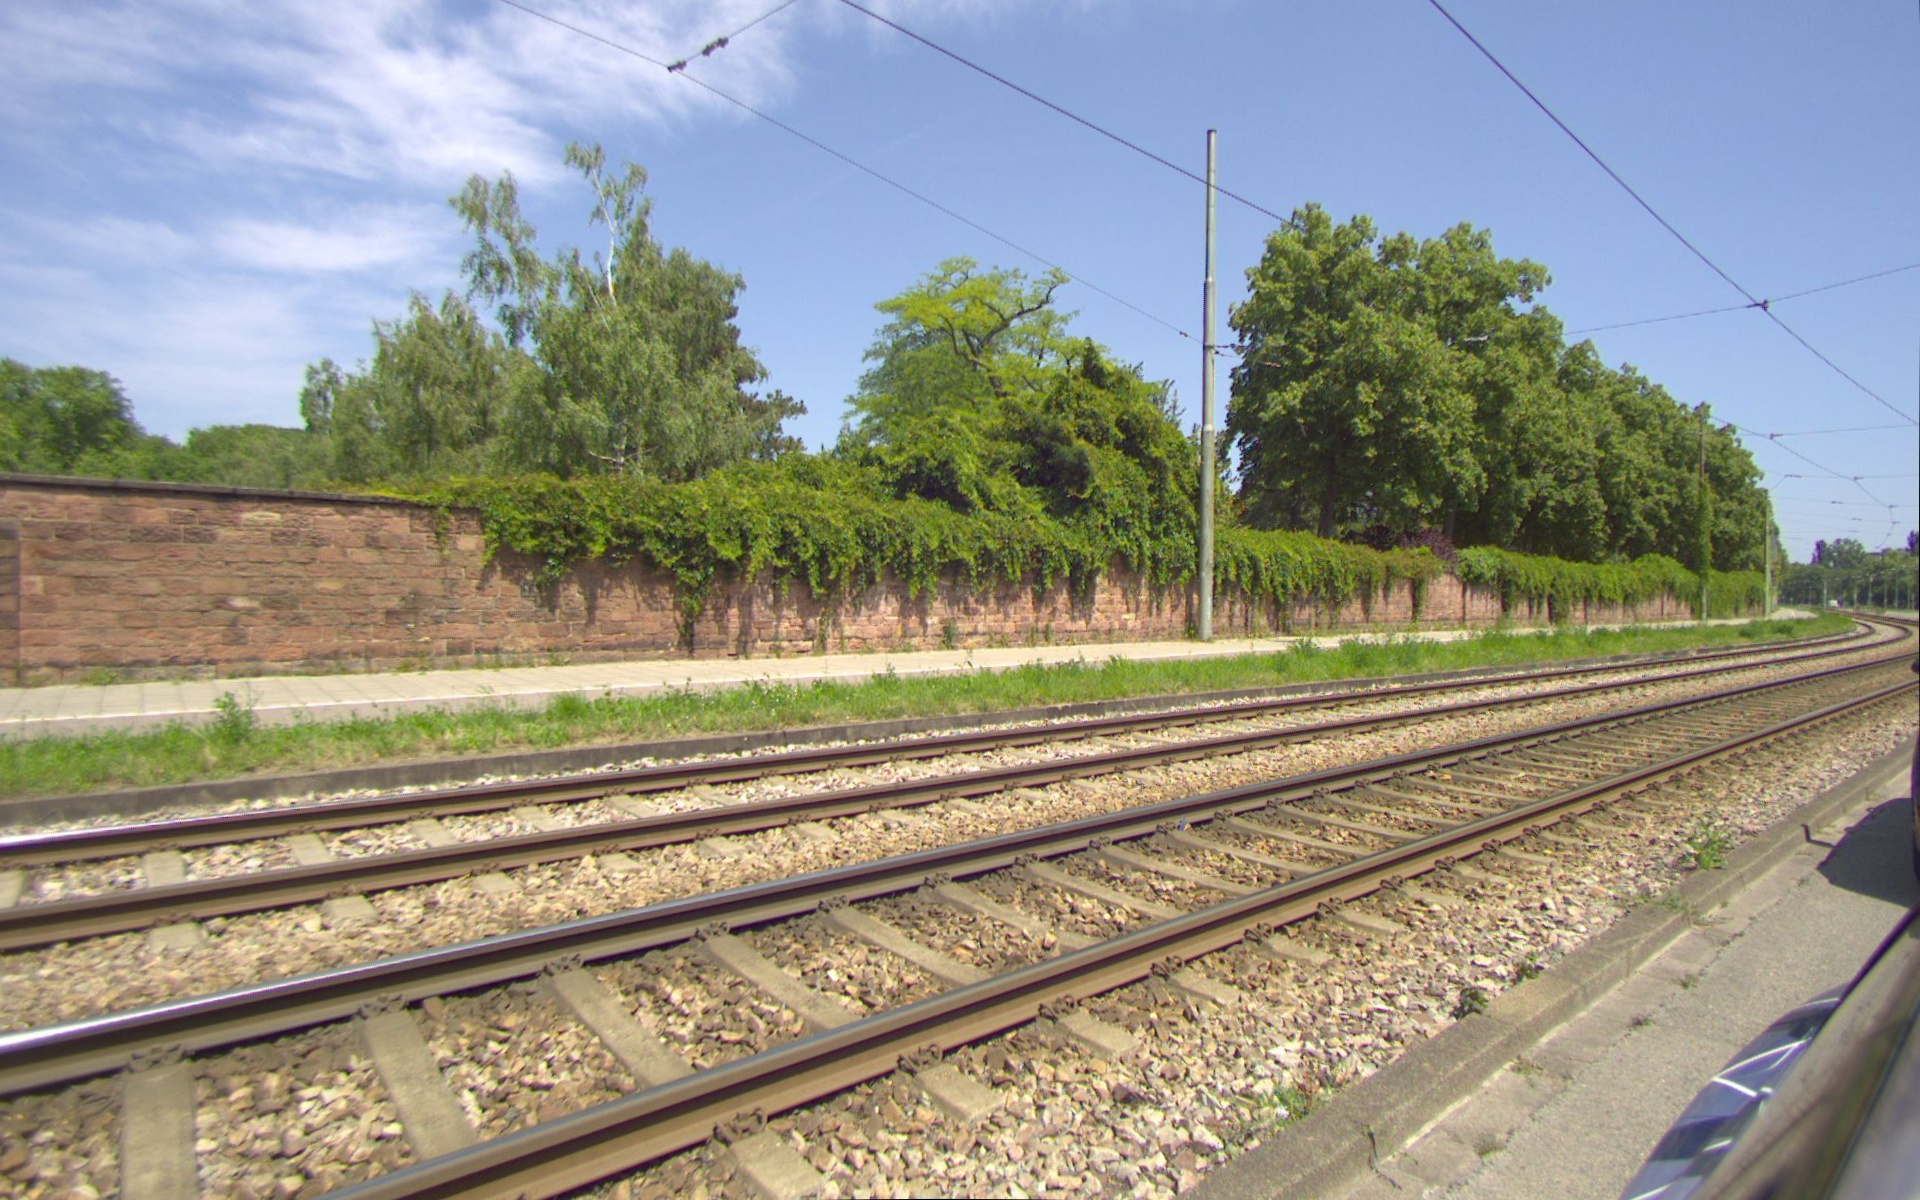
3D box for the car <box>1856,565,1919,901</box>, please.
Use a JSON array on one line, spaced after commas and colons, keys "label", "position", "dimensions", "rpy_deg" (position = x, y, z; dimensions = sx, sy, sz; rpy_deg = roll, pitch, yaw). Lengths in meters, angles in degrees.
[{"label": "car", "position": [6.507, 0.612, 5.289], "dimensions": [3.927, 1.563, 2.062], "rpy_deg": [0, -1, -38]}]
